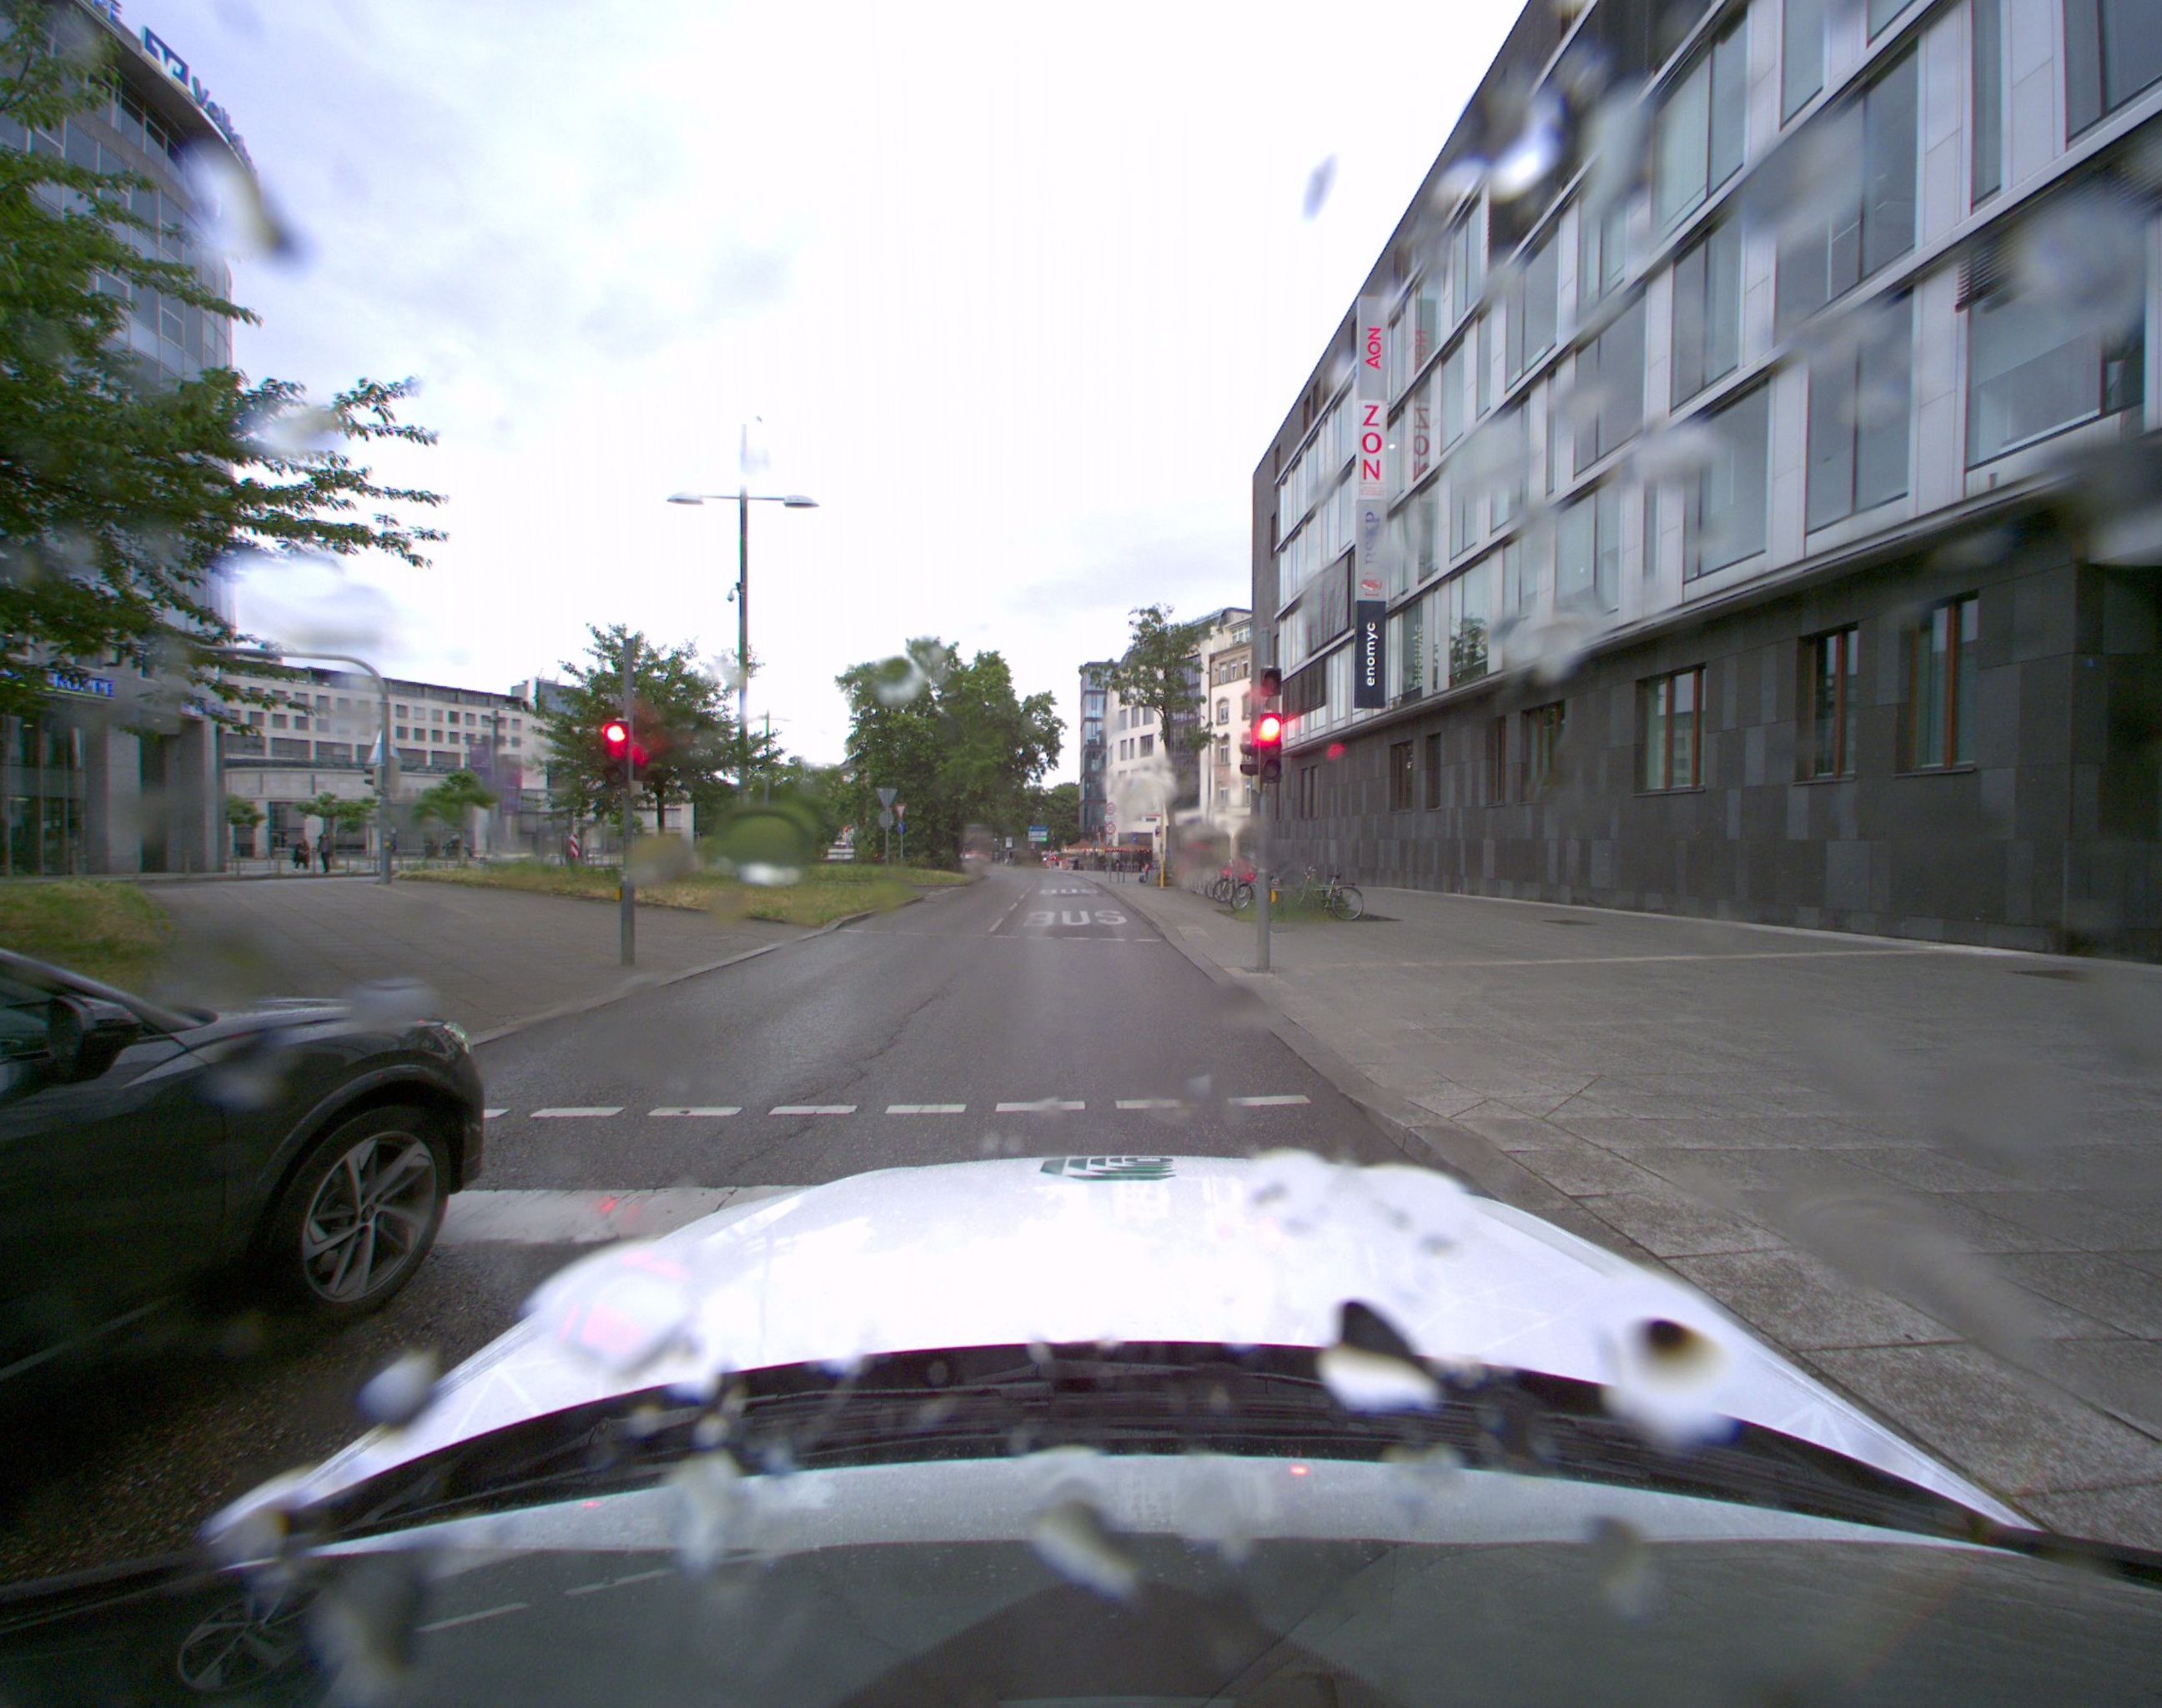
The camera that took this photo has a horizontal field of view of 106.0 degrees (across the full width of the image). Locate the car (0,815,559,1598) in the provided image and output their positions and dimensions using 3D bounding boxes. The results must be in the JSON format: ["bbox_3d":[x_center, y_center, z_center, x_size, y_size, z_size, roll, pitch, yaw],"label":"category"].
[{"bbox_3d":[-3.139,0.719,1.330,1.842,1.616,4.251,1,1,-1],"label":"car"}]

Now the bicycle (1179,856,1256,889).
[{"bbox_3d":[4.689,0.640,28.091,2.530,1.087,0.677,-1,0,-3],"label":"bicycle"}]

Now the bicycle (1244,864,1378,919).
[{"bbox_3d":[4.635,0.742,16.481,2.530,1.057,0.677,0,0,-3],"label":"bicycle"}]

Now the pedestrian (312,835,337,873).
[{"bbox_3d":[-35.784,0.013,38.517,0.622,1.763,0.720,-2,0,-24],"label":"pedestrian"}]

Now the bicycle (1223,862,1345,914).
[{"bbox_3d":[4.455,0.734,17.963,2.530,1.087,0.677,0,0,-3],"label":"bicycle"}]

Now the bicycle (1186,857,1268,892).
[{"bbox_3d":[4.725,0.666,26.447,2.530,1.087,0.677,-1,0,-3],"label":"bicycle"}]

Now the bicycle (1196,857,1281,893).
[{"bbox_3d":[4.938,0.666,25.602,2.530,1.087,0.677,-1,0,-3],"label":"bicycle"}]

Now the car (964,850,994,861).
[{"bbox_3d":[-15.011,0.218,119.834,2.159,1.700,4.024,0,0,44],"label":"car"}]

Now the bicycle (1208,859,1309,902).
[{"bbox_3d":[4.697,0.694,21.655,2.530,1.087,0.677,-1,0,-3],"label":"bicycle"}]

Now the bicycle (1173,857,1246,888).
[{"bbox_3d":[4.653,0.662,29.562,2.530,1.087,0.627,-1,0,-3],"label":"bicycle"}]

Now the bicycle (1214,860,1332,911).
[{"bbox_3d":[4.404,0.716,18.769,2.530,1.087,0.677,2,0,-3],"label":"bicycle"}]

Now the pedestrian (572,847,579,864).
[{"bbox_3d":[-53.017,0.160,85.375,0.578,1.699,0.590,2,0,-29],"label":"pedestrian"}]

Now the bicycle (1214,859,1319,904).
[{"bbox_3d":[4.727,0.698,20.843,2.530,1.087,0.677,-1,0,-3],"label":"bicycle"}]

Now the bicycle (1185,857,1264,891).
[{"bbox_3d":[4.784,0.650,27.199,2.530,1.087,0.677,-1,0,-3],"label":"bicycle"}]

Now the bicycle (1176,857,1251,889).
[{"bbox_3d":[4.666,0.652,28.839,2.530,1.087,0.677,-1,0,-3],"label":"bicycle"}]

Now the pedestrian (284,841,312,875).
[{"bbox_3d":[-36.863,0.190,38.333,0.732,1.516,0.685,-2,0,-29],"label":"pedestrian"}]

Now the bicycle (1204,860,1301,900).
[{"bbox_3d":[4.730,0.697,22.521,2.530,1.060,0.677,-1,0,-3],"label":"bicycle"}]

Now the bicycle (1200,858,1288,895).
[{"bbox_3d":[4.918,0.667,24.624,2.530,1.087,0.677,-1,0,-3],"label":"bicycle"}]

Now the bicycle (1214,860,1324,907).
[{"bbox_3d":[4.601,0.719,19.991,2.530,1.087,0.677,-1,0,-3],"label":"bicycle"}]

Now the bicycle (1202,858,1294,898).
[{"bbox_3d":[4.788,0.682,23.429,2.530,1.087,0.677,-1,0,-3],"label":"bicycle"}]
